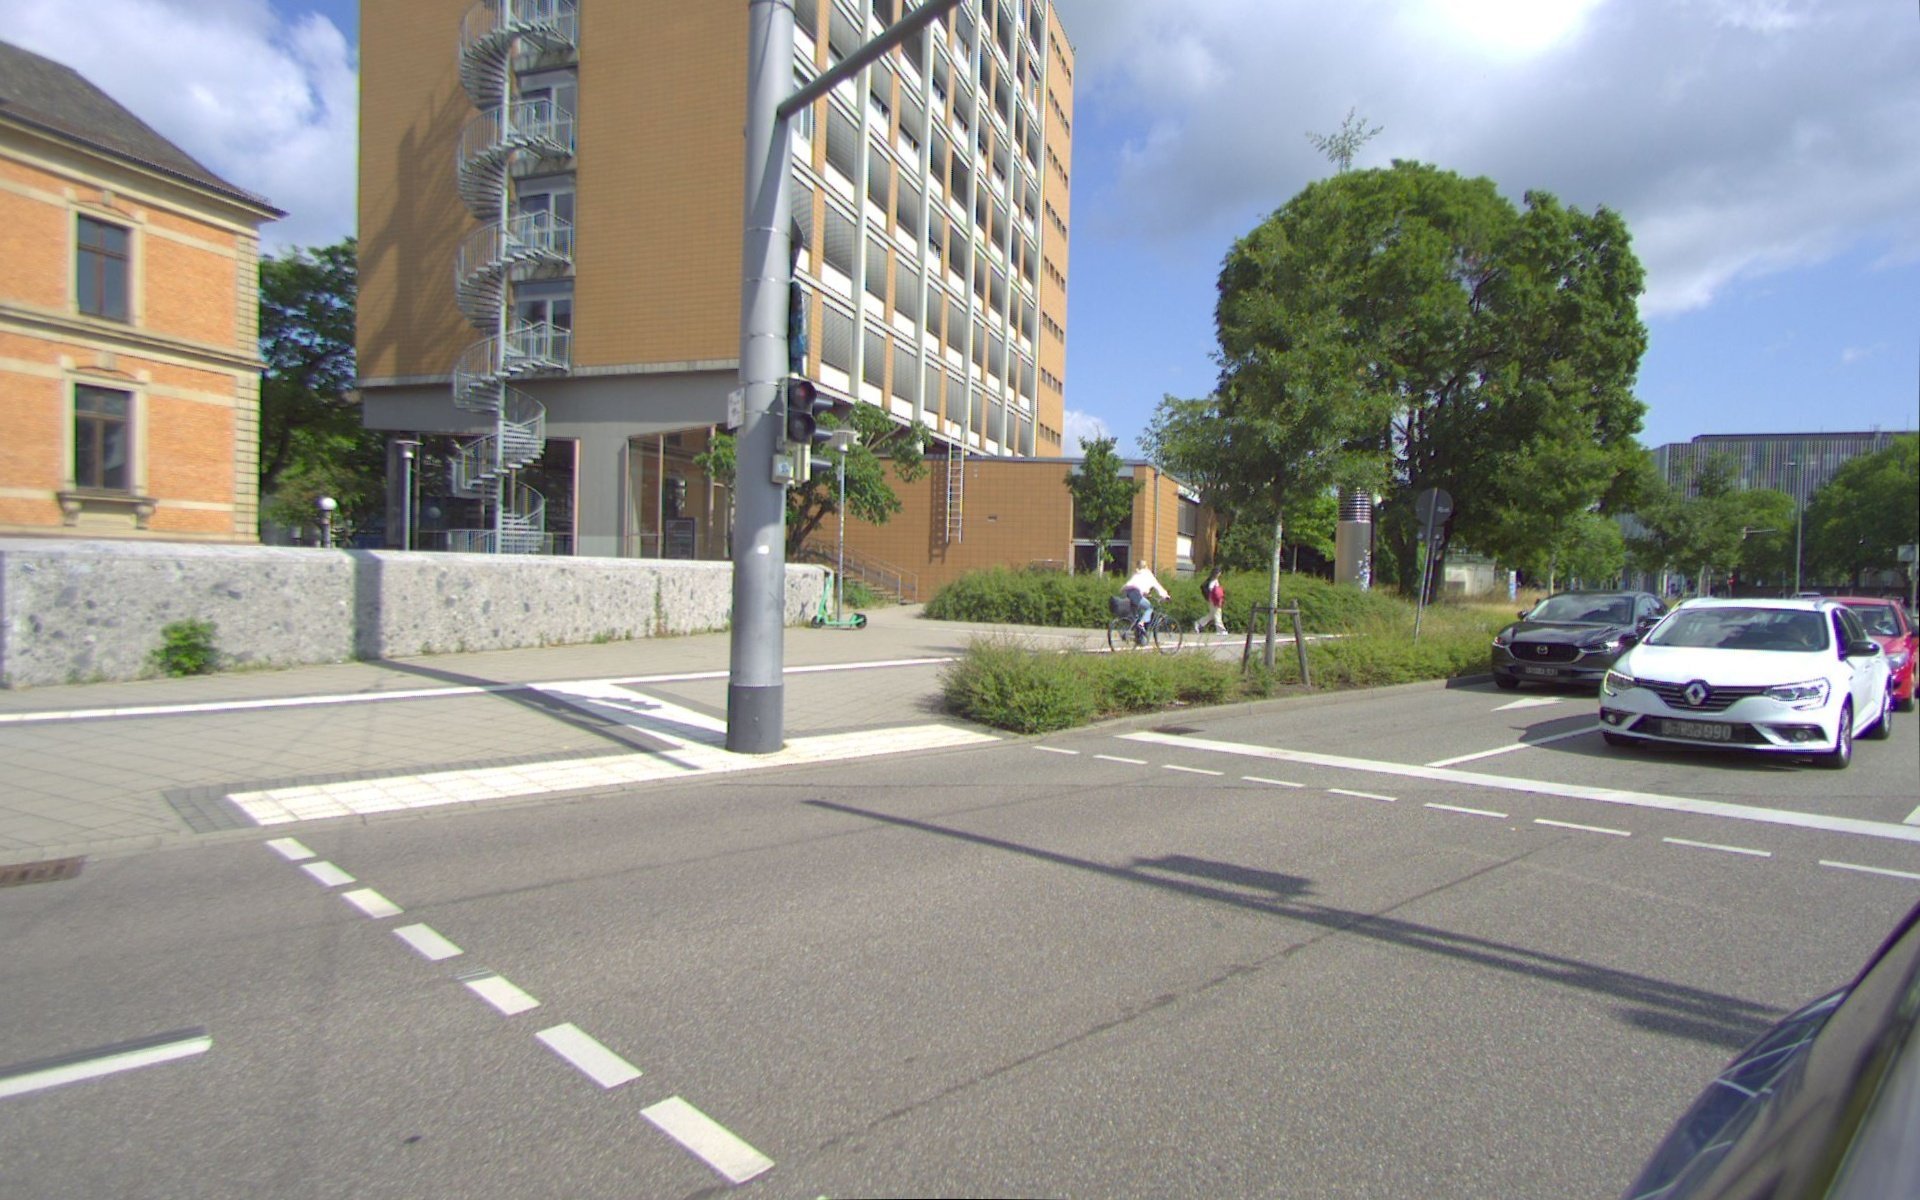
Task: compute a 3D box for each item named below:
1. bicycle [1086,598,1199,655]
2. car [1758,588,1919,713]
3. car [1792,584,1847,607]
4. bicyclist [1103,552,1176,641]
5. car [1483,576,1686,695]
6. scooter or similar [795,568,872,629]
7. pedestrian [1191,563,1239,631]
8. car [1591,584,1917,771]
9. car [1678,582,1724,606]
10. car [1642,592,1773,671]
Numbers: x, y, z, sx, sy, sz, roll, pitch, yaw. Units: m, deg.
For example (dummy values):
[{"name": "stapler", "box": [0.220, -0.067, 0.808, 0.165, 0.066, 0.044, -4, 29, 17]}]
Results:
[{"name": "bicycle", "box": [3.186, 0.432, 17.504, 2.236, 0.909, 0.652, 0, 2, -41]}, {"name": "car", "box": [12.627, 0.591, 14.246, 3.997, 1.486, 1.643, -1, 1, -43]}, {"name": "car", "box": [62.534, -0.352, 73.695, 1.811, 1.544, 3.970, 2, 2, 22]}, {"name": "bicyclist", "box": [3.102, -0.075, 17.455, 1.149, 1.475, 0.635, 0, 2, -41]}, {"name": "car", "box": [9.701, 0.434, 15.584, 4.141, 1.596, 1.643, -1, 1, -43]}, {"name": "scooter or similar", "box": [-2.620, -0.036, 21.058, 1.507, 1.198, 0.435, 3, 1, -4]}, {"name": "pedestrian", "box": [6.133, -0.077, 24.408, 0.940, 1.598, 0.769, 1, 1, 3]}, {"name": "car", "box": [8.136, 0.584, 10.194, 4.593, 1.447, 1.760, -1, 1, -41]}, {"name": "car", "box": [56.048, -0.477, 76.626, 1.978, 1.777, 3.969, 0, 1, 23]}, {"name": "car", "box": [15.318, 0.567, 20.663, 4.012, 1.402, 1.584, -1, 1, -45]}]
